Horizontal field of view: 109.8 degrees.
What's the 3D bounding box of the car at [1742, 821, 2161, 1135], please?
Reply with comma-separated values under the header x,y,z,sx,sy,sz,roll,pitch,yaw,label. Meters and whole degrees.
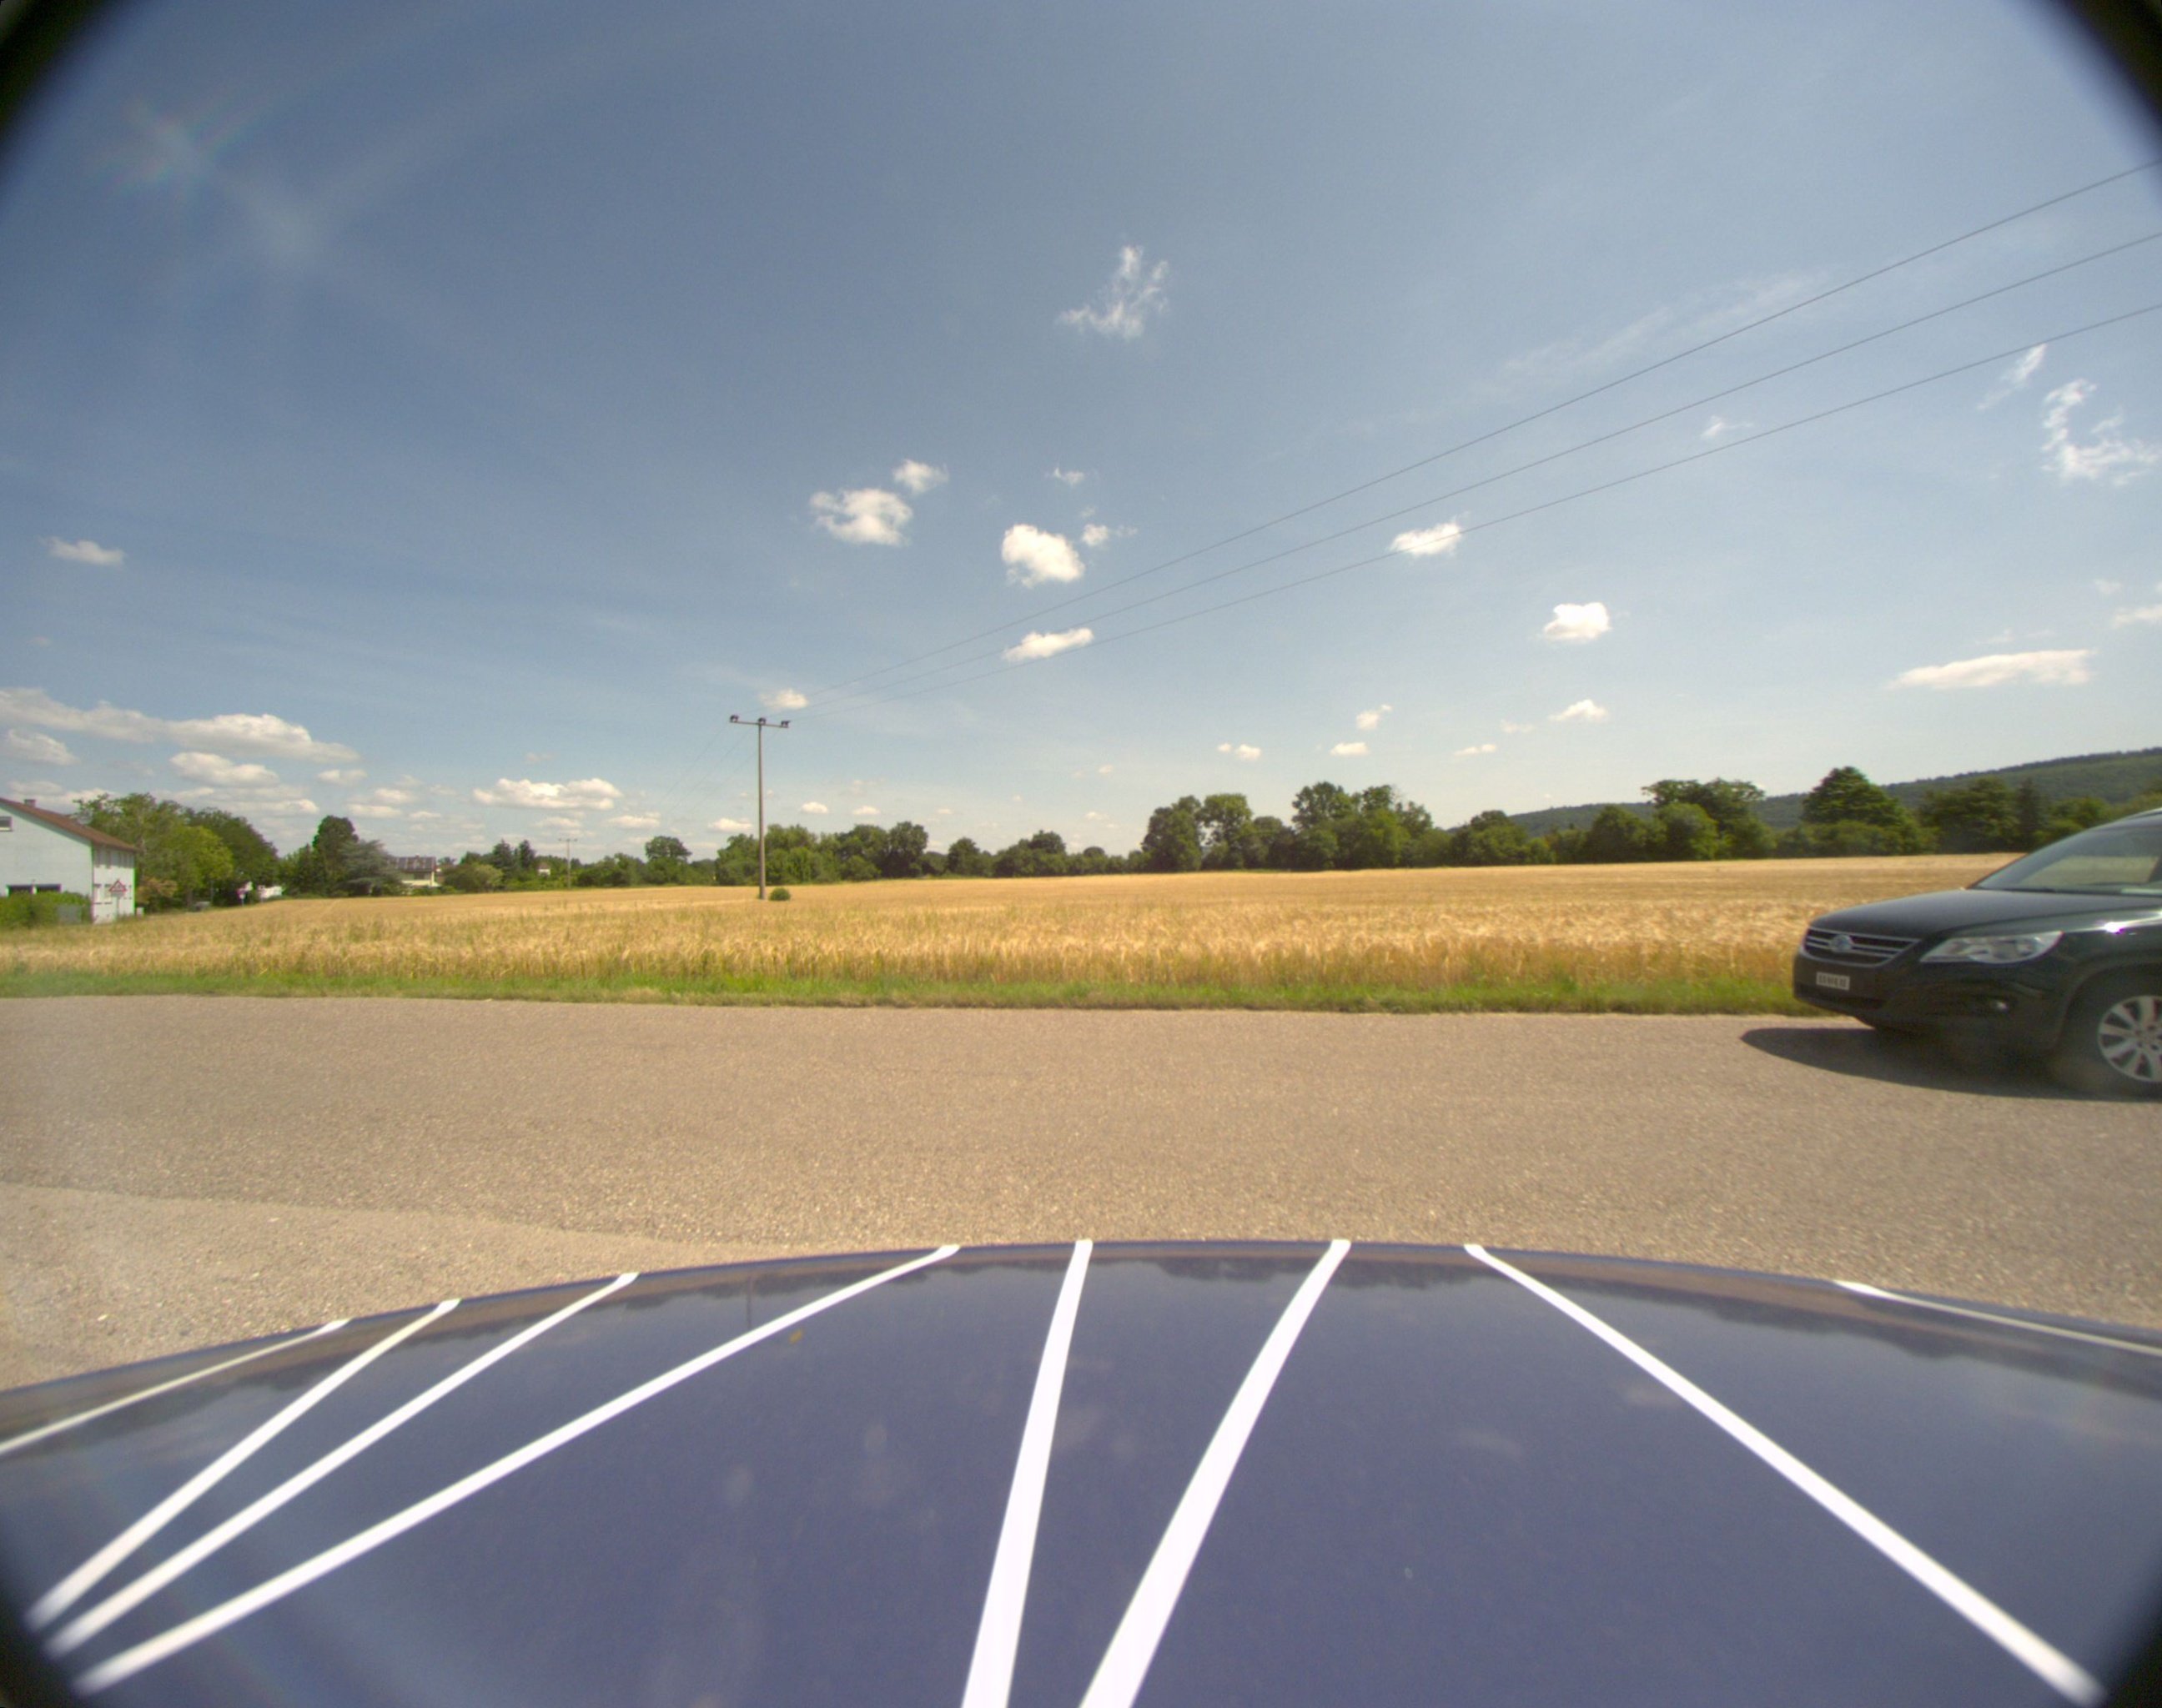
x,y,z,sx,sy,sz,roll,pitch,yaw,label
7.066,0.628,4.631,4.248,1.669,1.751,-1,0,12,car
